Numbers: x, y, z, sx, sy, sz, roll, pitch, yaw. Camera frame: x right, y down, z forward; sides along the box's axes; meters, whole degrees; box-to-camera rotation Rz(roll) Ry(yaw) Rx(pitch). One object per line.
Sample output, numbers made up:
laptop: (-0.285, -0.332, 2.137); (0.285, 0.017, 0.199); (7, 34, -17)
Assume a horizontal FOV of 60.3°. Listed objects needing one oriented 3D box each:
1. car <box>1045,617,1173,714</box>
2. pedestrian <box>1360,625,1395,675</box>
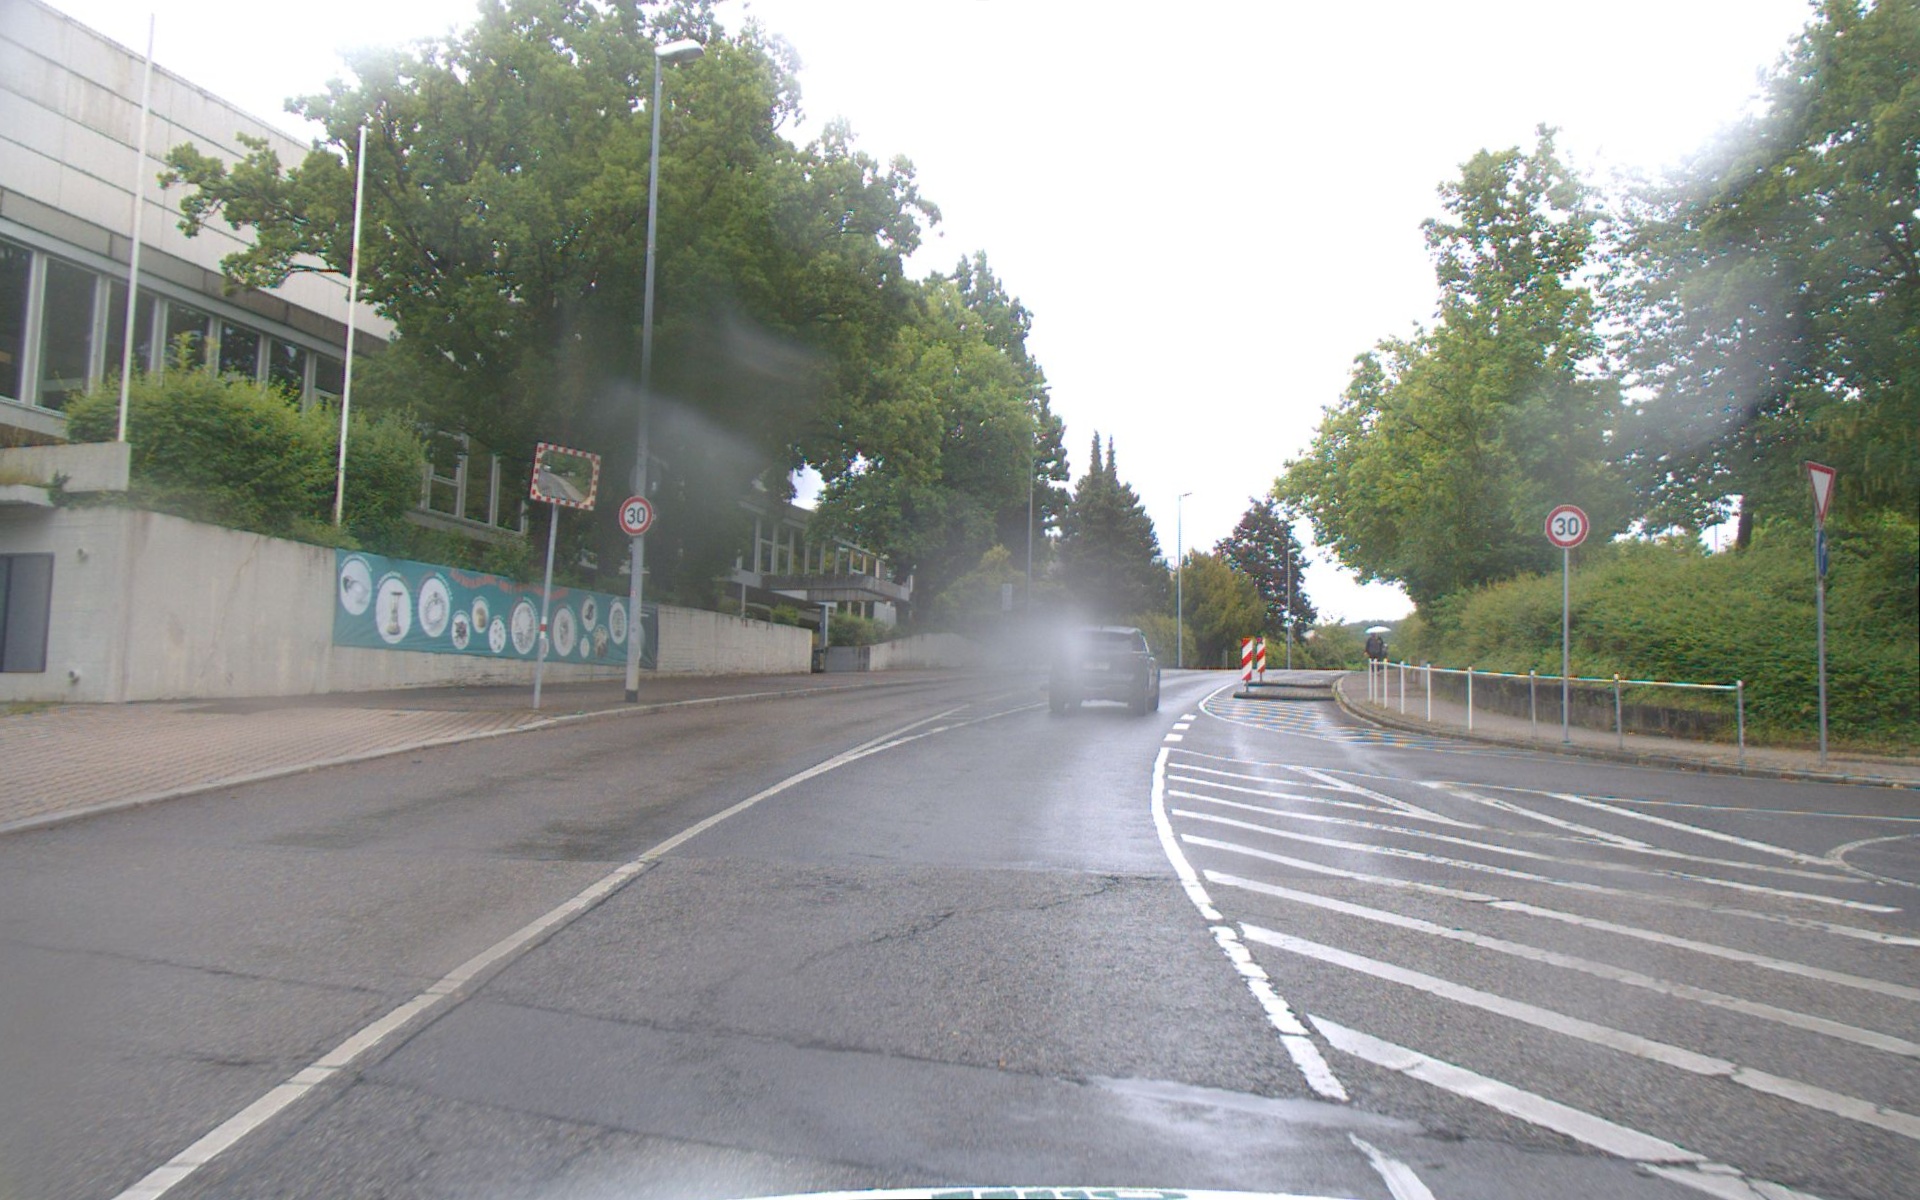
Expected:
car: (2.910, 1.193, 31.552); (1.887, 1.641, 4.003); (2, 0, 12)
pedestrian: (14.821, 1.773, 58.785); (1.061, 1.752, 1.167); (-2, -2, 9)
